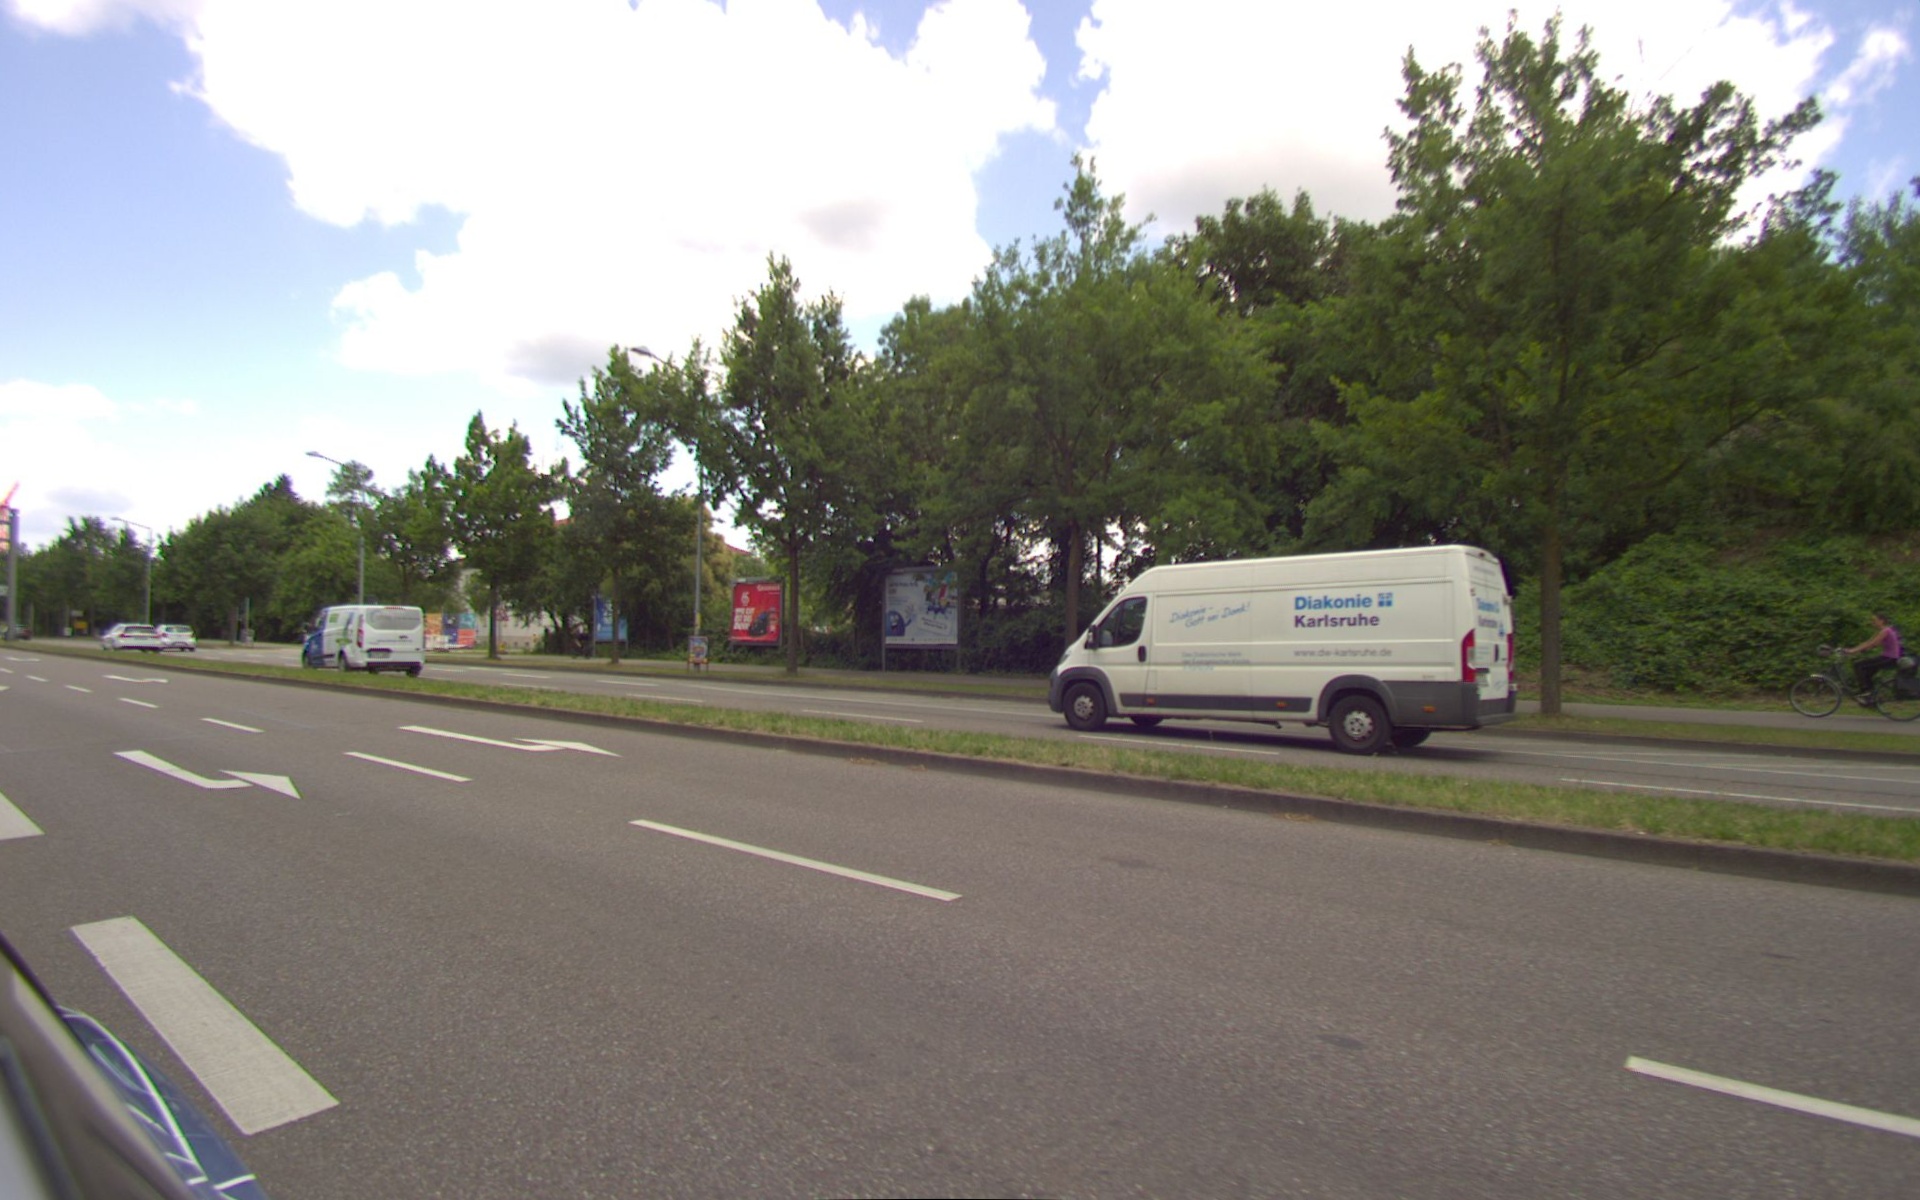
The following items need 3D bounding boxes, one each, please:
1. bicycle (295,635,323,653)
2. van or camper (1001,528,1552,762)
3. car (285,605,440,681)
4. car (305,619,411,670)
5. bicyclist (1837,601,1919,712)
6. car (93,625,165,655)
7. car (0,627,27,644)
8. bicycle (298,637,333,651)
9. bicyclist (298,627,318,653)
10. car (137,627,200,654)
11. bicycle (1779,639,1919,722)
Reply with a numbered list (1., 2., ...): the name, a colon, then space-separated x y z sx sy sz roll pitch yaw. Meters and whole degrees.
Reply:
1. bicycle: -41.708 2.800 64.807 2.254 1.170 0.743 -1 -3 37
2. van or camper: 4.078 0.576 14.266 7.058 2.559 2.328 -2 -2 40
3. car: -17.128 1.203 28.894 5.189 1.979 2.168 -2 -3 40
4. car: -22.782 1.680 38.270 4.403 1.815 1.974 -2 -3 38
5. bicyclist: 15.203 0.908 16.763 0.997 1.760 0.883 -1 -1 41
6. car: -41.591 1.978 50.588 5.022 1.442 1.972 -1 -3 41
7. car: -87.372 3.254 92.939 4.906 1.528 1.939 -2 -3 41
8. bicycle: -47.559 3.248 74.688 2.117 1.023 0.665 1 -2 -4
9. bicyclist: -41.825 2.556 64.916 0.979 1.671 0.731 -2 -3 36
10. car: -45.309 2.327 57.888 4.411 1.454 1.895 -1 -5 40
11. bicycle: 15.161 1.314 16.797 2.393 1.280 0.813 -1 -1 42
